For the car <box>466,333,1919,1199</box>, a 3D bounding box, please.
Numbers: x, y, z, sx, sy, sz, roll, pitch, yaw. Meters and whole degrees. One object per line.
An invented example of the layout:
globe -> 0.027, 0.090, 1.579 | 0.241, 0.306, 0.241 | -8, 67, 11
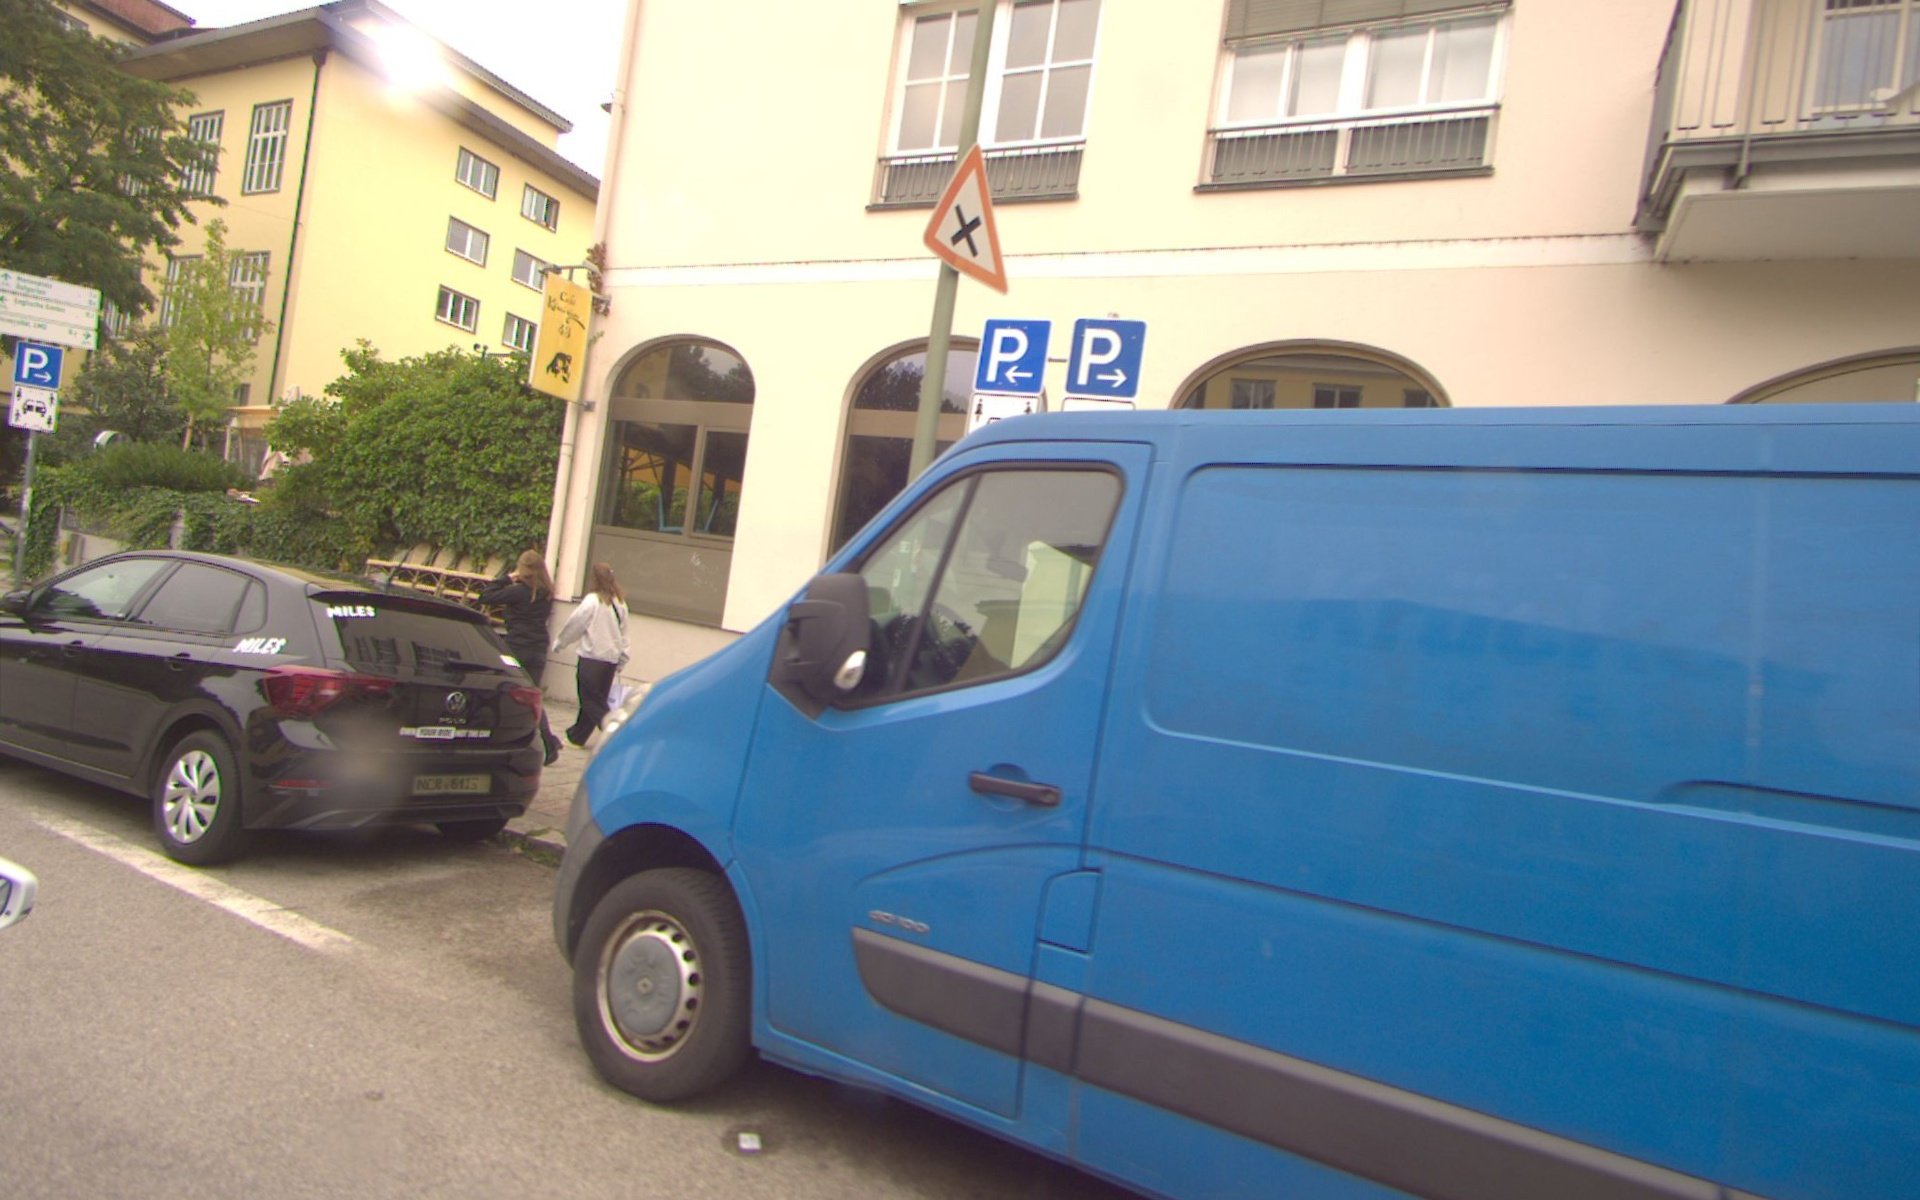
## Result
car -> 1.161, 0.720, 3.139 | 4.943, 2.234, 2.119 | 6, -7, 29

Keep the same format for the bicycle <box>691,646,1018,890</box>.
bicycle -> -0.638, 0.949, 6.047 | 1.754, 1.082, 0.567 | 8, 0, 19

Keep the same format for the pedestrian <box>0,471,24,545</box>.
pedestrian -> -25.510, -2.465, 26.527 | 0.753, 1.880, 0.852 | 8, 1, 26

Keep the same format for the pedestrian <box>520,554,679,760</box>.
pedestrian -> -3.123, 0.487, 8.752 | 0.815, 1.626, 0.808 | 7, 0, 27

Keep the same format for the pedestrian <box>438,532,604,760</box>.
pedestrian -> -3.480, 0.358, 7.993 | 0.815, 1.648, 0.680 | 7, 0, 25

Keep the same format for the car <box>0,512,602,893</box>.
car -> -4.321, 0.430, 5.883 | 3.928, 1.408, 1.723 | 8, -4, 24
